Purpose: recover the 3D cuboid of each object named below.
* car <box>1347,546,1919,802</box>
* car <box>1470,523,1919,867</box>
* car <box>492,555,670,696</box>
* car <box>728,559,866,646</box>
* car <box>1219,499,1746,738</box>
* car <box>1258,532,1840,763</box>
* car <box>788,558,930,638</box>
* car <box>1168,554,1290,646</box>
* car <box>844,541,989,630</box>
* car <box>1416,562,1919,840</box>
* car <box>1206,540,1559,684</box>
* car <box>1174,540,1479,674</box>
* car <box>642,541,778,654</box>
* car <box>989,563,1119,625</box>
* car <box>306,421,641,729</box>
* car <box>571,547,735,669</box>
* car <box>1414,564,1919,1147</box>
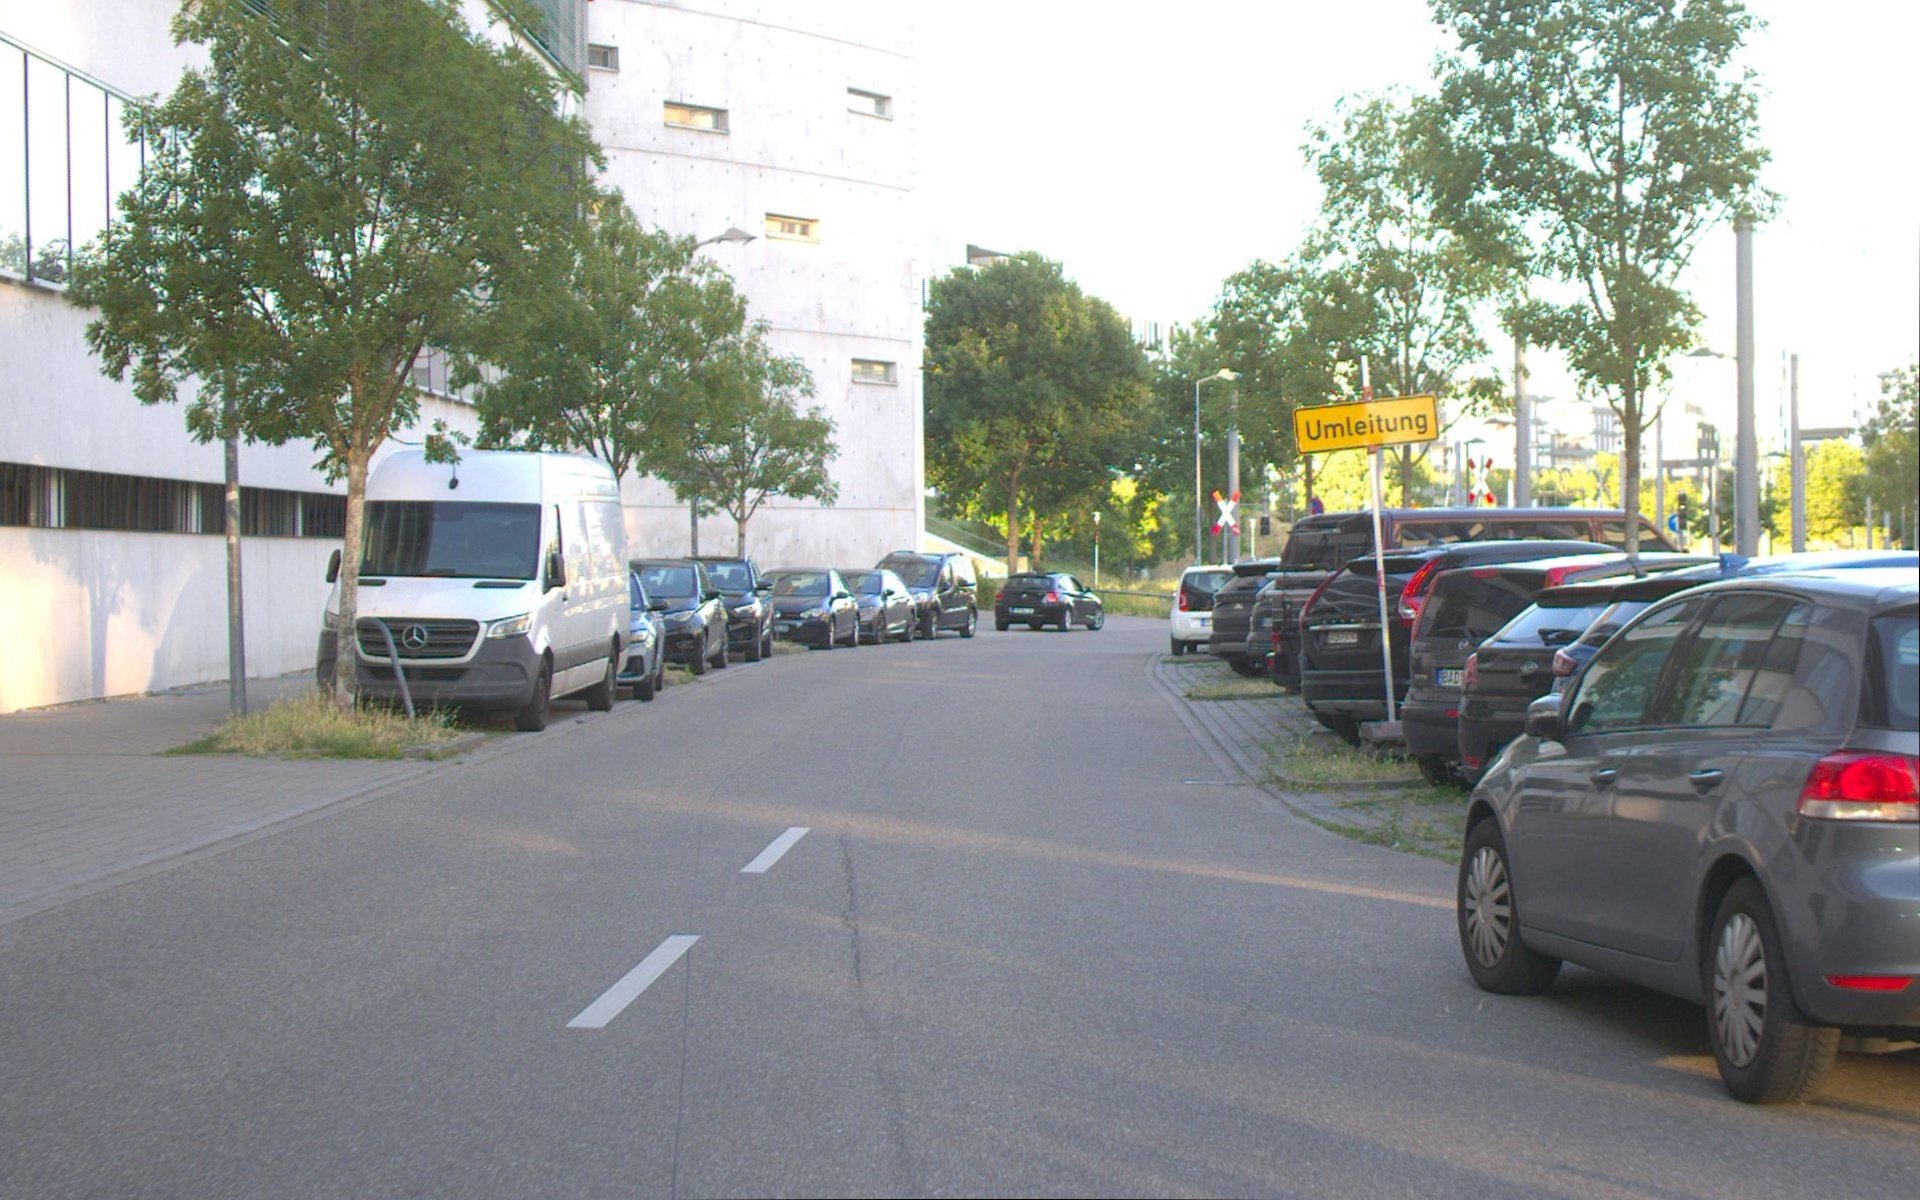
[{"bbox_3d":[4.730,0.489,23.296,3.987,1.589,1.737,1,0,-34],"label":"car"},{"bbox_3d":[4.716,0.393,17.161,3.987,1.515,1.928,-2,0,-33],"label":"car"},{"bbox_3d":[-4.257,0.251,39.117,1.756,1.434,3.902,1,1,-3],"label":"car"},{"bbox_3d":[-2.925,0.014,62.581,1.723,1.452,4.270,2,1,8],"label":"car"},{"bbox_3d":[4.788,0.147,31.308,4.588,2.028,1.871,0,1,-32],"label":"car"},{"bbox_3d":[4.869,0.356,28.220,4.588,1.743,1.871,0,1,-32],"label":"car"},{"bbox_3d":[-1.958,-0.071,68.020,1.723,1.452,4.691,2,1,12],"label":"car"},{"bbox_3d":[4.560,-0.019,57.976,1.723,1.462,3.551,-1,1,10],"label":"car"},{"bbox_3d":[-0.886,-0.332,73.140,1.758,1.792,4.459,2,1,17],"label":"car"},{"bbox_3d":[4.754,0.523,20.291,3.988,1.460,1.736,-1,1,-36],"label":"car"},{"bbox_3d":[5.378,0.139,43.819,3.973,1.634,1.973,-2,0,-26],"label":"car"},{"bbox_3d":[4.965,0.090,46.520,3.766,1.720,1.764,0,1,-31],"label":"car"},{"bbox_3d":[-3.902,-0.079,54.214,1.756,1.648,3.949,2,1,1],"label":"car"},{"bbox_3d":[2.309,-0.166,83.147,1.946,1.378,4.395,2,1,18],"label":"car"},{"bbox_3d":[-4.523,-0.293,33.123,1.958,2.608,6.892,2,1,2],"label":"car"},{"bbox_3d":[-4.233,0.070,47.985,1.756,1.555,4.043,2,1,2],"label":"car"},{"bbox_3d":[2.792,0.647,10.704,1.731,1.461,4.001,2,0,-7],"label":"car"}]
